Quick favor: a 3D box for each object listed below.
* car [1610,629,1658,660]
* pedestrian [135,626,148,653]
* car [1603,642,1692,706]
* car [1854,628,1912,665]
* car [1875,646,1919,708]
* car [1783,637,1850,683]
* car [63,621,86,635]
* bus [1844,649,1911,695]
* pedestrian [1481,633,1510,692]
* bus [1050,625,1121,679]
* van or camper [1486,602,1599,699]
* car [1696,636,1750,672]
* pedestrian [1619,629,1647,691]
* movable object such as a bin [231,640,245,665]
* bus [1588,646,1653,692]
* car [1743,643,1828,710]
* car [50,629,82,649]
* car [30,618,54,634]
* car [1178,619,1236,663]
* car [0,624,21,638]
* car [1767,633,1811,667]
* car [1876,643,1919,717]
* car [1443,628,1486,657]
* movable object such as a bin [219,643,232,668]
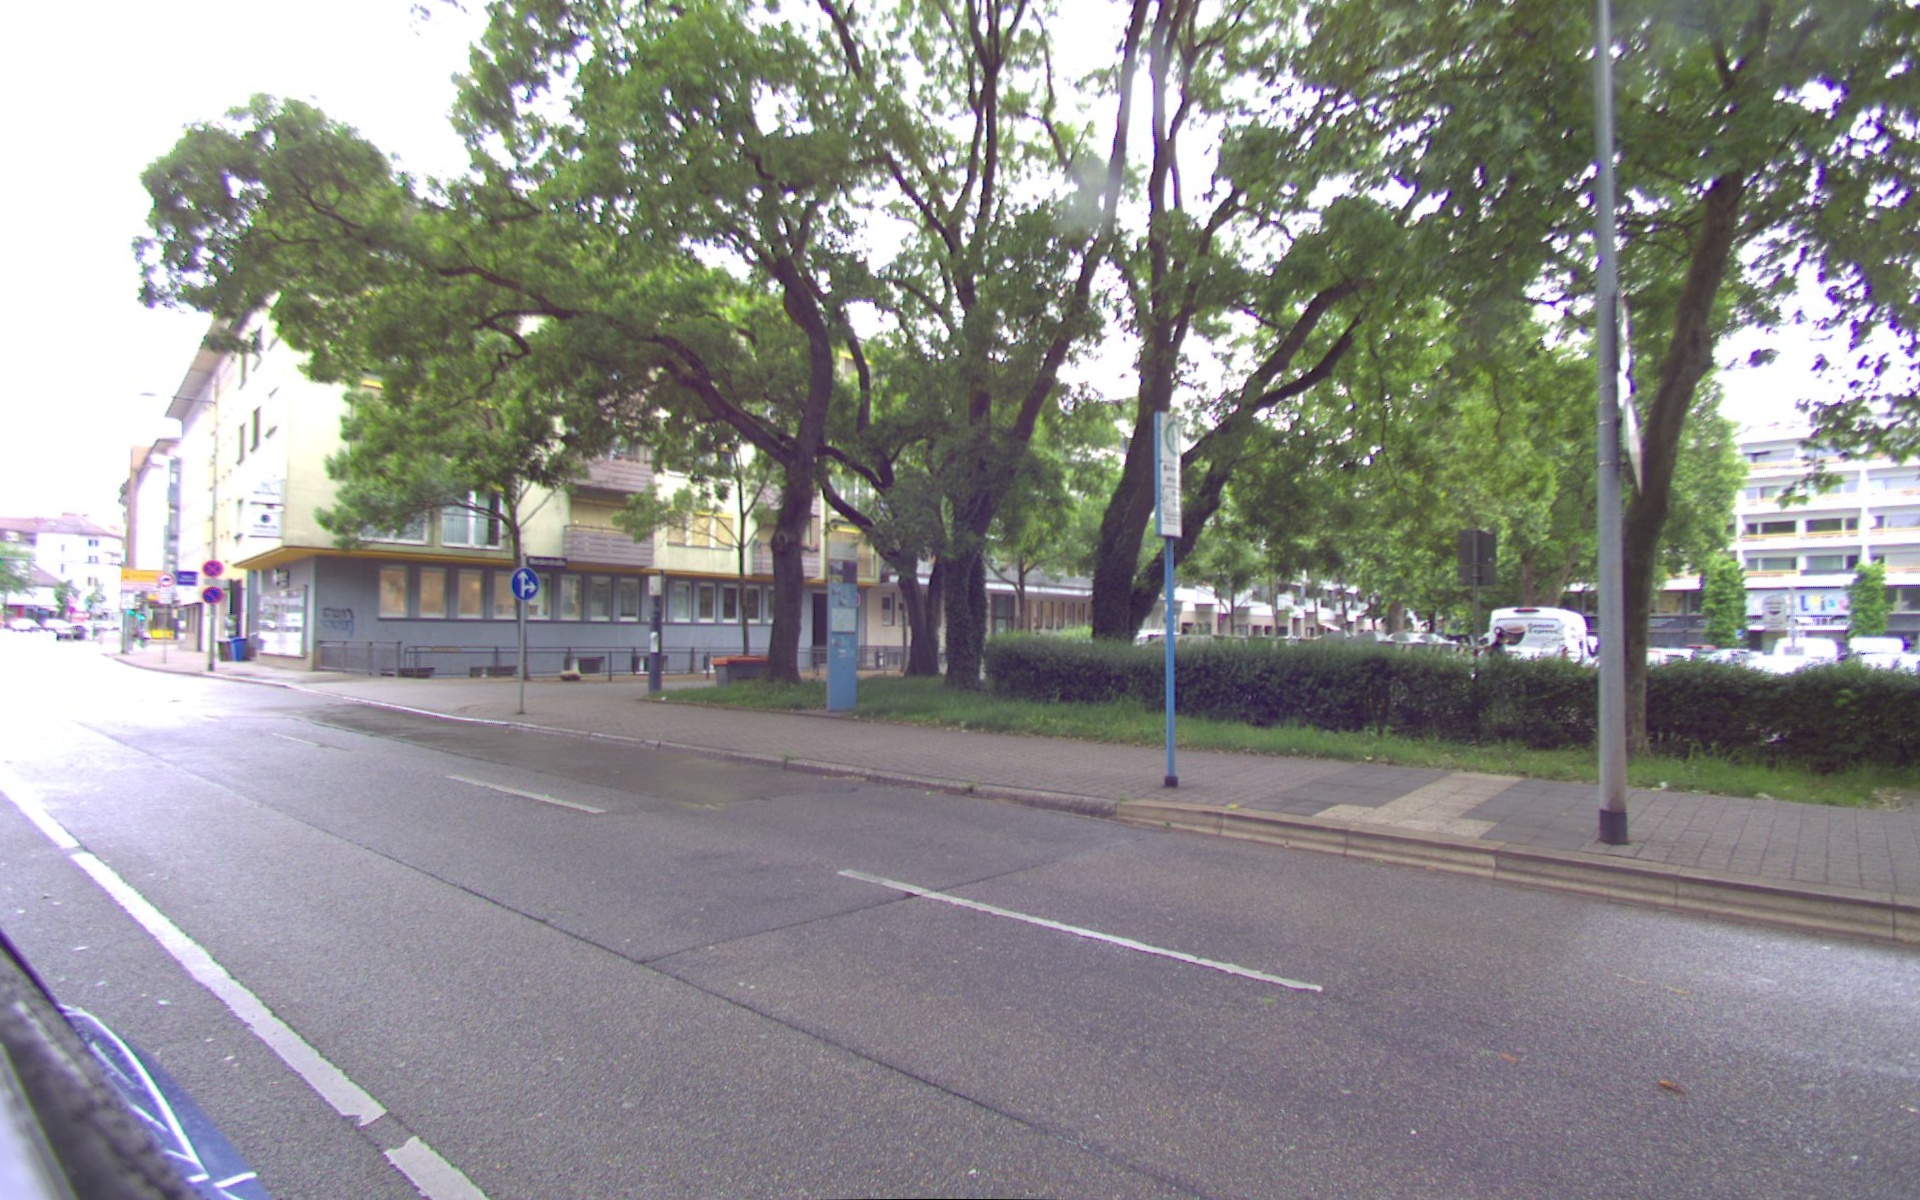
[{"bbox_3d":[32.474,2.151,48.721,1.604,1.439,3.275,-1,-3,40],"label":"car"},{"bbox_3d":[-57.925,2.811,71.612,0.586,1.858,0.565,3,-4,-42],"label":"pedestrian"},{"bbox_3d":[16.742,1.762,24.609,1.391,1.446,3.227,-2,-4,41],"label":"car"},{"bbox_3d":[40.512,1.996,44.461,1.639,1.536,3.160,-1,-2,38],"label":"car"},{"bbox_3d":[23.425,1.874,24.796,1.391,1.446,3.227,-2,-4,41],"label":"car"},{"bbox_3d":[28.183,1.958,33.342,1.604,1.439,3.275,-1,-3,40],"label":"car"},{"bbox_3d":[-111.613,3.587,127.521,4.002,1.670,1.842,-2,-4,45],"label":"car"},{"bbox_3d":[33.166,2.568,36.647,1.604,1.551,3.385,-1,-3,40],"label":"bus"},{"bbox_3d":[11.313,1.310,21.382,0.484,1.222,0.433,-1,0,34],"label":"pedestrian"},{"bbox_3d":[4.846,1.997,38.676,1.703,1.939,3.697,0,-3,24],"label":"bus"},{"bbox_3d":[16.855,1.444,29.201,2.097,2.556,4.367,-1,-3,40],"label":"van or camper"},{"bbox_3d":[35.729,2.478,47.354,1.837,1.435,3.780,-1,0,39],"label":"car"},{"bbox_3d":[13.617,1.208,20.482,0.465,1.222,0.433,-1,0,34],"label":"pedestrian"},{"bbox_3d":[-29.873,2.179,41.891,0.409,1.037,0.354,3,-4,-42],"label":"movable object such as a bin"},{"bbox_3d":[24.165,2.487,36.963,1.604,1.551,3.385,-1,-3,40],"label":"bus"},{"bbox_3d":[19.247,1.741,23.554,1.391,1.446,3.227,-2,-4,41],"label":"car"},{"bbox_3d":[-82.103,3.586,92.957,4.002,1.730,1.863,-2,-4,45],"label":"car"},{"bbox_3d":[-114.277,3.231,125.922,4.002,1.866,1.971,-2,-4,45],"label":"car"},{"bbox_3d":[11.802,1.972,48.166,1.988,2.029,3.967,0,-3,24],"label":"car"},{"bbox_3d":[-111.011,3.617,117.991,4.002,1.653,1.971,-2,-4,45],"label":"car"},{"bbox_3d":[41.994,2.494,51.291,1.639,1.536,3.161,-1,0,38],"label":"car"},{"bbox_3d":[19.938,1.630,20.934,1.391,1.446,3.227,-2,-4,41],"label":"car"},{"bbox_3d":[27.317,2.283,54.723,1.428,1.439,2.926,-2,-1,40],"label":"car"},{"bbox_3d":[-30.266,2.278,41.702,0.333,1.037,0.354,3,-4,-42],"label":"movable object such as a bin"}]
